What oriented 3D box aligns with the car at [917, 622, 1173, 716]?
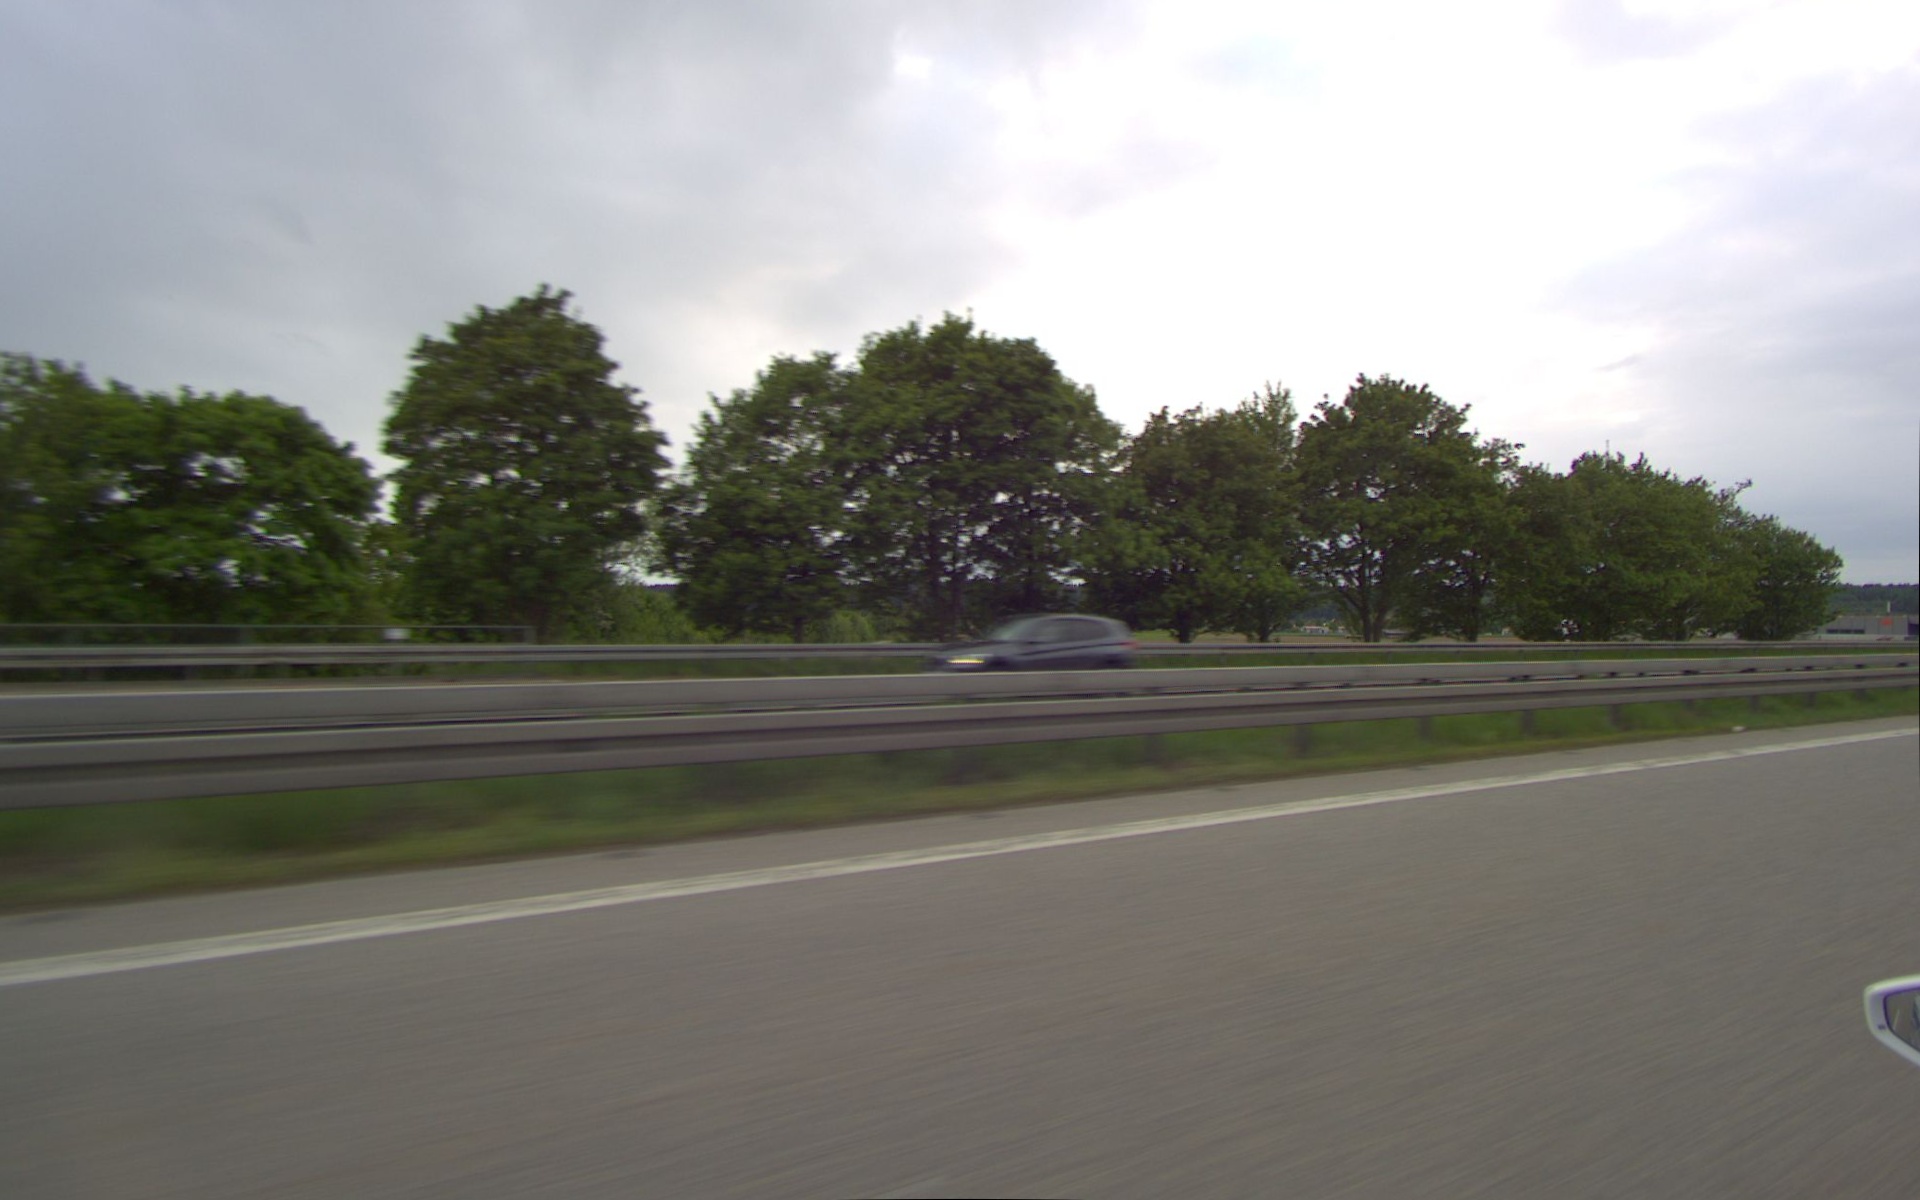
[{"bbox_3d":[1.718,1.294,19.760,4.753,1.603,1.984,2,0,-30],"label":"car"}]
